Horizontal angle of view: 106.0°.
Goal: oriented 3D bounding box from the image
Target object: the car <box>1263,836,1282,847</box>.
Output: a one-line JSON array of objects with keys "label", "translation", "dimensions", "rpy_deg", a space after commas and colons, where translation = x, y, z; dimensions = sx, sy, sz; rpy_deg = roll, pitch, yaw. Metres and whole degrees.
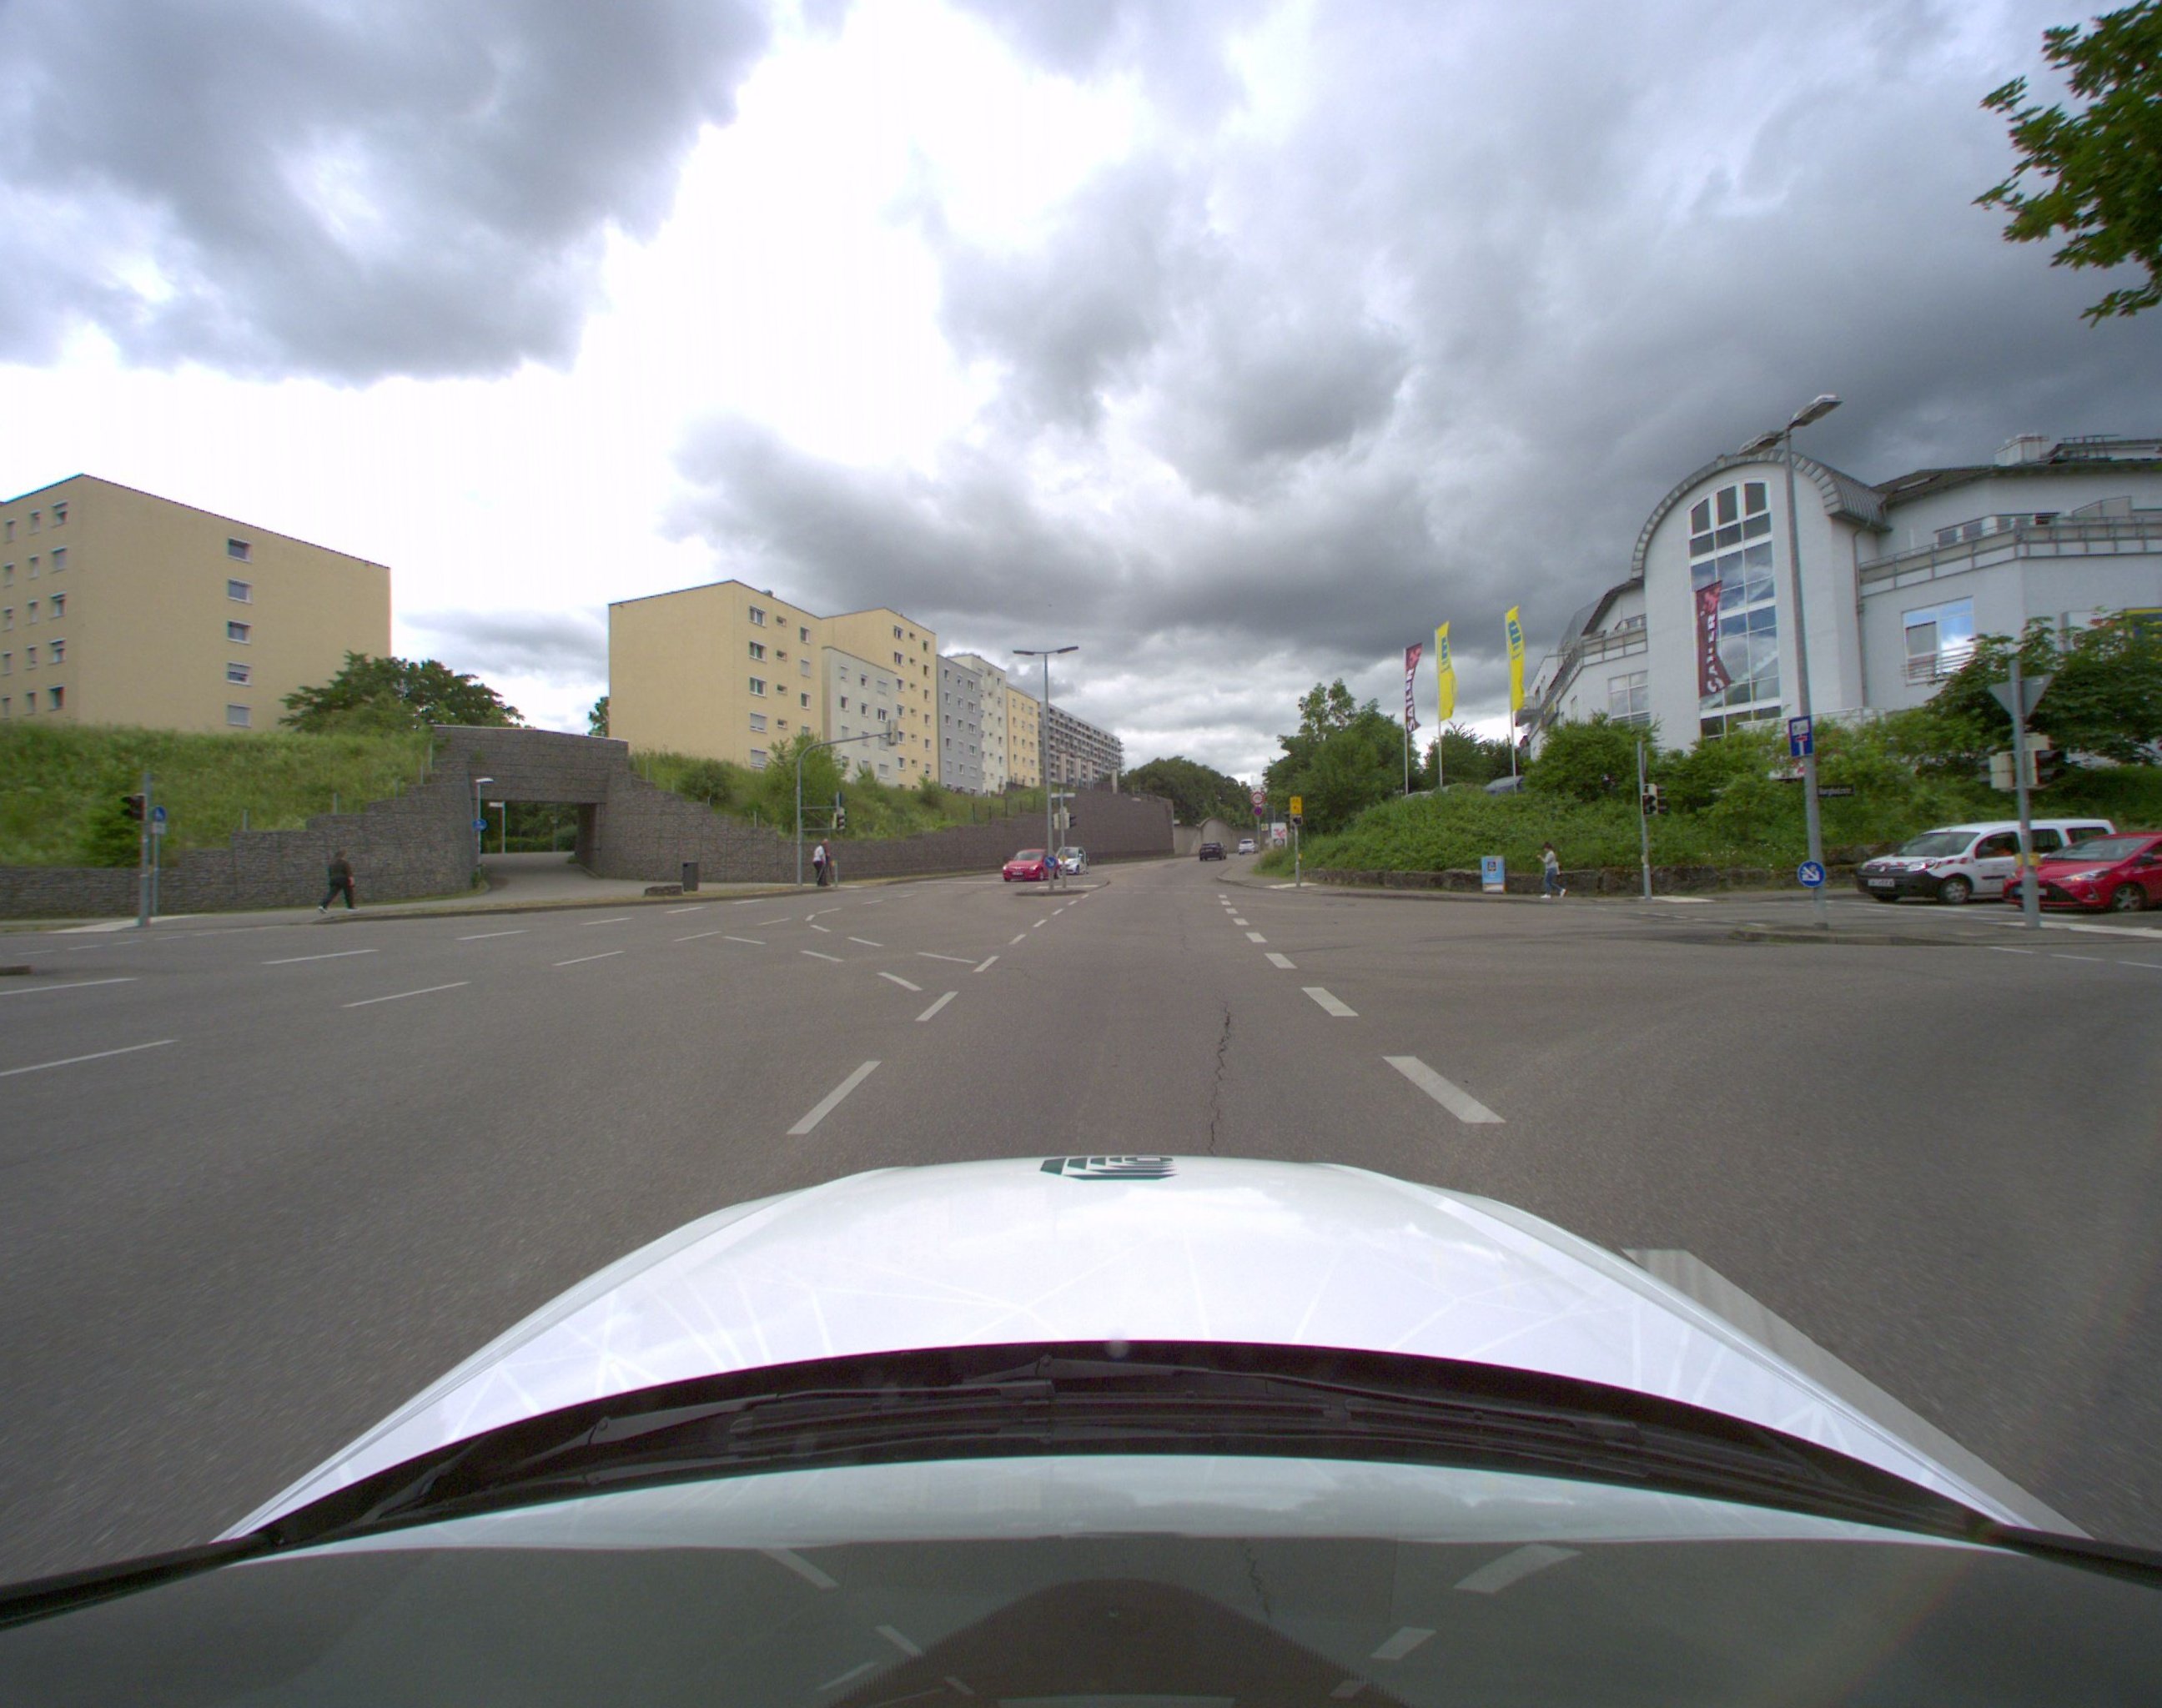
[{"label": "car", "translation": [25.749, -1.695, 109.196], "dimensions": [1.850, 1.490, 4.280], "rpy_deg": [-1, 0, 22]}]

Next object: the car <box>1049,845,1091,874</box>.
[{"label": "car", "translation": [-0.572, 0.289, 44.979], "dimensions": [1.531, 1.523, 2.927], "rpy_deg": [0, 0, 16]}]

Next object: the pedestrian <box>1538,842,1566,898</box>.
[{"label": "pedestrian", "translation": [13.572, 0.456, 23.456], "dimensions": [0.616, 1.608, 0.583], "rpy_deg": [0, -1, 22]}]

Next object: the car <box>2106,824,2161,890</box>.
[{"label": "car", "translation": [26.502, -0.040, 18.499], "dimensions": [3.805, 1.455, 1.967], "rpy_deg": [-4, -1, 2]}]

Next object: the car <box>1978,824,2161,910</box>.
[{"label": "car", "translation": [20.342, 0.201, 15.789], "dimensions": [3.805, 1.496, 1.761], "rpy_deg": [-2, -1, 2]}]

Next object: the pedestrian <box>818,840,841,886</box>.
[{"label": "pedestrian", "translation": [-10.049, 0.352, 32.512], "dimensions": [0.617, 1.827, 0.668], "rpy_deg": [0, -1, 14]}]

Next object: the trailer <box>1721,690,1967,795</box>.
[{"label": "trailer", "translation": [28.918, -4.057, 31.208], "dimensions": [2.477, 3.055, 6.433], "rpy_deg": [0, 0, -29]}]

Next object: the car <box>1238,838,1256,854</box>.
[{"label": "car", "translation": [16.634, -0.825, 81.705], "dimensions": [1.742, 1.523, 4.050], "rpy_deg": [0, 0, 12]}]

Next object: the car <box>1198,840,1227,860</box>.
[{"label": "car", "translation": [10.380, -0.317, 64.264], "dimensions": [1.741, 1.523, 4.054], "rpy_deg": [0, 0, 16]}]

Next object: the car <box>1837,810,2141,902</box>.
[{"label": "car", "translation": [20.802, 0.054, 18.836], "dimensions": [4.689, 1.800, 1.953], "rpy_deg": [-3, -1, 2]}]

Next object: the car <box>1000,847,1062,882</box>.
[{"label": "car", "translation": [-2.276, 0.477, 38.398], "dimensions": [1.741, 1.523, 4.108], "rpy_deg": [0, 0, 14]}]

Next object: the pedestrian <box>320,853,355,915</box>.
[{"label": "pedestrian", "translation": [-18.980, 0.746, 20.805], "dimensions": [0.627, 1.558, 0.573], "rpy_deg": [0, -1, -39]}]

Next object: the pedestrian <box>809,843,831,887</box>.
[{"label": "pedestrian", "translation": [-10.174, 0.423, 31.748], "dimensions": [0.619, 1.679, 0.666], "rpy_deg": [0, -1, 2]}]
